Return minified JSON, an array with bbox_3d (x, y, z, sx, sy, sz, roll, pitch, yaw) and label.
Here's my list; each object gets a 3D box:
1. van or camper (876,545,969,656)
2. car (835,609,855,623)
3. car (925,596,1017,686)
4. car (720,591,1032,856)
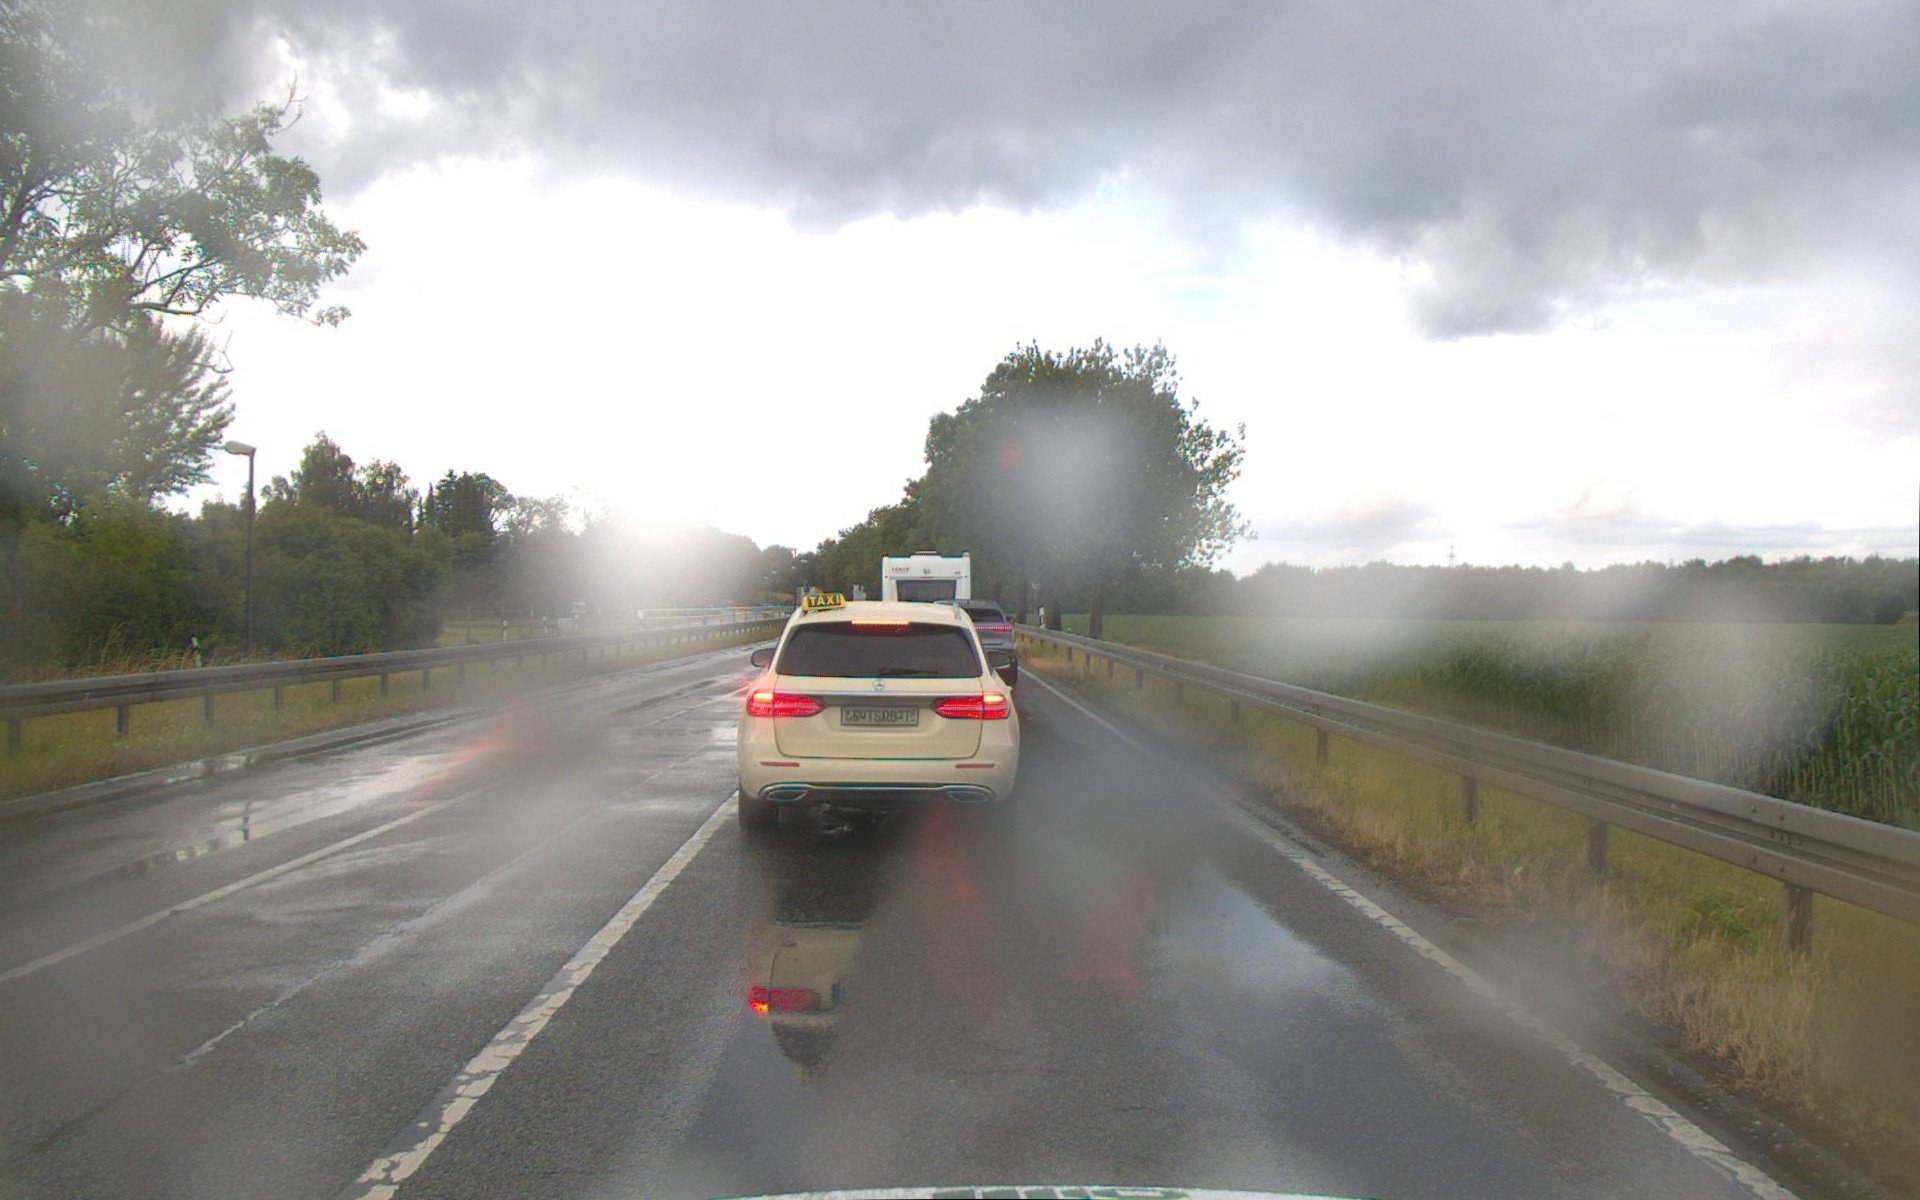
[{"bbox_3d":[-0.960,-0.009,44.002,2.303,2.727,5.767,0,0,-1],"label":"van or camper"},{"bbox_3d":[-11.334,1.566,163.682,1.723,1.291,3.999,0,0,-1],"label":"car"},{"bbox_3d":[0.175,0.706,30.584,1.594,1.556,3.932,0,0,-1],"label":"car"},{"bbox_3d":[-0.467,0.721,11.663,1.787,1.511,4.145,1,0,0],"label":"car"}]
